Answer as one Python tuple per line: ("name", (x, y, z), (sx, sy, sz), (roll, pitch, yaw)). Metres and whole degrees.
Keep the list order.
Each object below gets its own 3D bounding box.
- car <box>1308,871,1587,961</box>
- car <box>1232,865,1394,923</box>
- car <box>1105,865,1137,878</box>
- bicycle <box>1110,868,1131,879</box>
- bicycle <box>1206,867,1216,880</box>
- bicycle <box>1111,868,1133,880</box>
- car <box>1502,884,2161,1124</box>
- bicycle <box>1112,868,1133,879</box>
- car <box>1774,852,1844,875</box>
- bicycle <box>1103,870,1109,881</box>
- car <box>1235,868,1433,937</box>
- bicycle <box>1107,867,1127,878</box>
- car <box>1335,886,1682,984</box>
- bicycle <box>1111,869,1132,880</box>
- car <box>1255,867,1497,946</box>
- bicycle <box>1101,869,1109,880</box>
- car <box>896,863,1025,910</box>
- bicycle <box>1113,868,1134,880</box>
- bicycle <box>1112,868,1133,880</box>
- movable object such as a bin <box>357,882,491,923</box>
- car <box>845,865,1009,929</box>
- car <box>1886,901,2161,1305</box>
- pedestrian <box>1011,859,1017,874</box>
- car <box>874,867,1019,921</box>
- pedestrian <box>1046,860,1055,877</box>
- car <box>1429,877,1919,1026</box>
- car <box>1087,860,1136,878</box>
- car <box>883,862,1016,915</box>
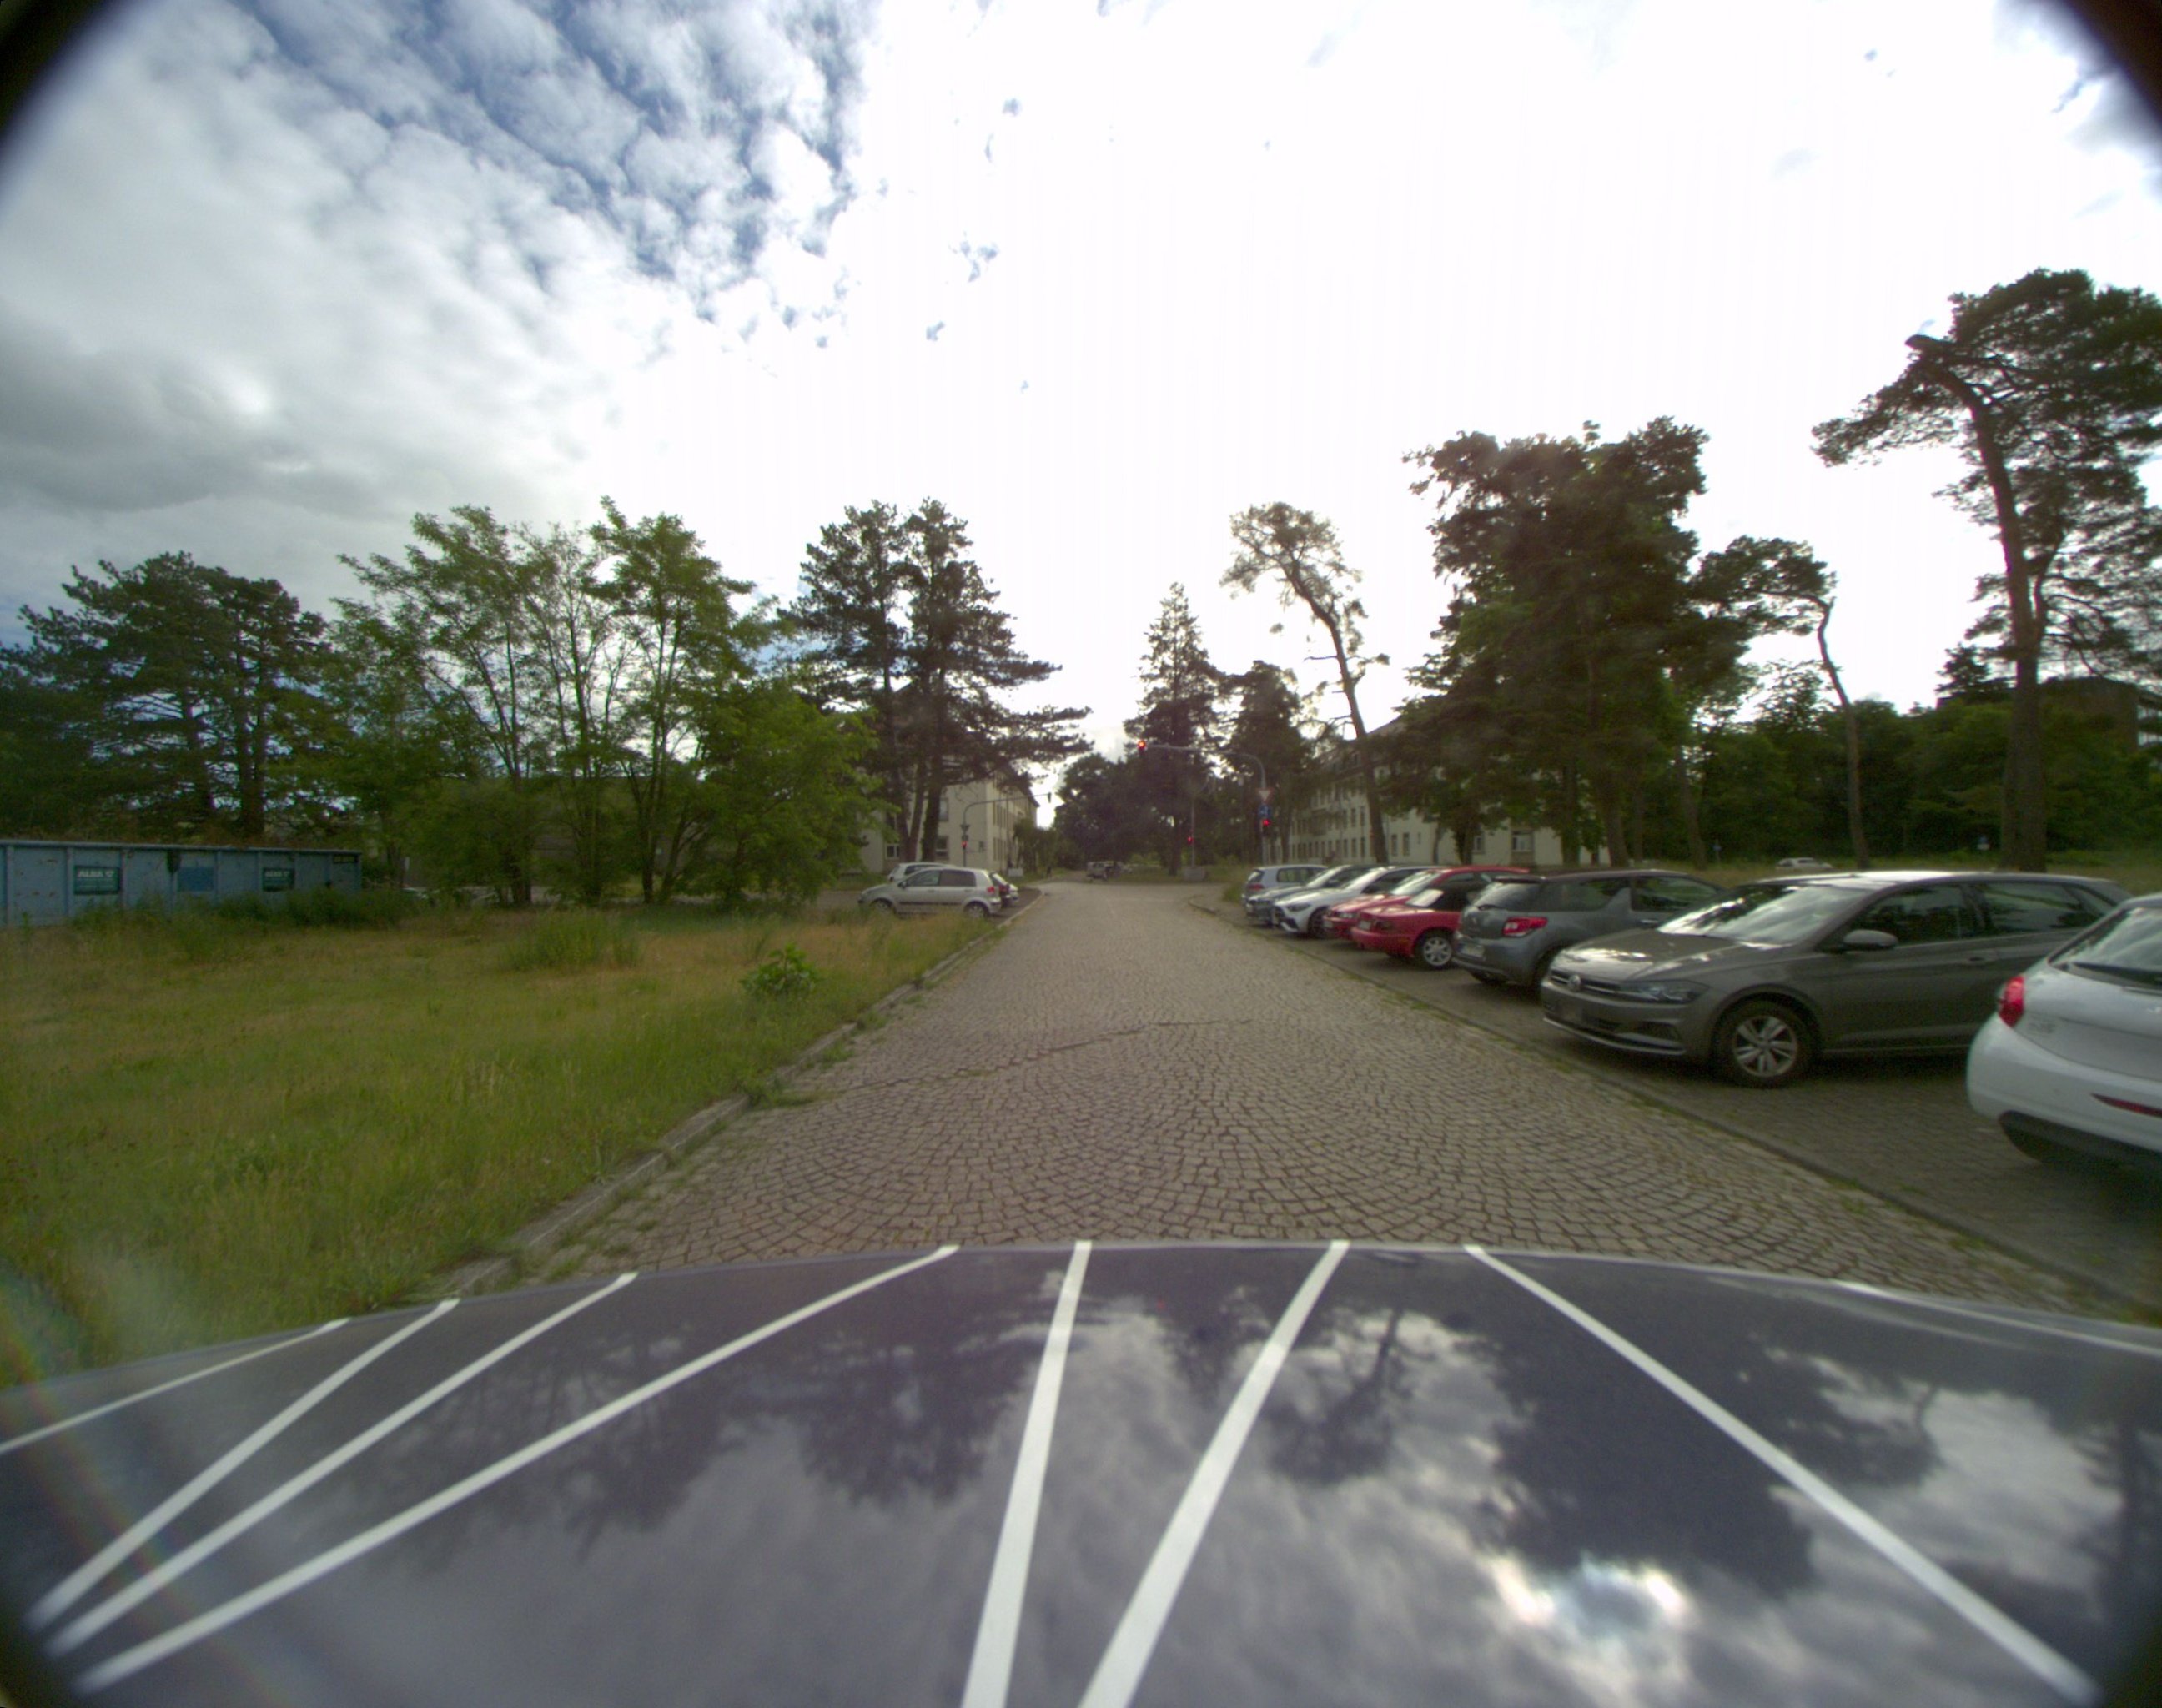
("car", (6.493, 1.076, 13.814), (4.176, 1.467, 1.865), (-1, 0, 0))
("car", (6.469, 1.103, 21.524), (3.997, 1.534, 1.905), (-1, 0, 0))
("car", (4.464, 1.931, 85.138), (3.439, 1.440, 1.913), (-1, -1, -1))
("bicycle", (3.826, 1.882, 73.146), (1.951, 1.058, 0.563), (-1, 0, -1))
("bicycle", (9.864, 1.474, 57.678), (0.294, 0.910, 1.052), (-1, 0, -21))
("bicycle", (3.833, 1.866, 70.902), (1.951, 1.104, 0.563), (-1, 0, -1))
("car", (5.866, 1.019, 5.865), (4.176, 1.483, 1.865), (-1, 0, 2))
("bicycle", (3.935, 1.886, 72.563), (1.951, 1.058, 0.563), (-1, 0, -1))
("car", (60.157, 0.765, 62.864), (3.996, 1.796, 1.723), (-1, 0, 4))
("bicycle", (2.235, 1.877, 66.946), (0.459, 0.903, 1.663), (-1, -1, 4))
("car", (6.167, 1.154, 18.861), (4.262, 1.539, 1.935), (-1, 0, -3))
("bicycle", (3.651, 1.881, 76.948), (1.951, 1.058, 0.563), (-1, 0, -1))
("car", (6.218, 1.168, 11.445), (4.176, 1.259, 1.831), (-1, -1, 2))
("bicycle", (3.771, 1.891, 70.348), (1.898, 1.058, 0.616), (-1, 0, -1))
("car", (6.111, 1.063, 16.117), (4.385, 1.498, 1.935), (-1, 0, -1))
("bicycle", (2.175, 1.893, 68.769), (0.459, 0.968, 1.664), (-1, -1, 9))
("car", (-4.466, 1.188, 28.695), (4.504, 1.556, 1.905), (2, -1, -2))
("bicycle", (4.015, 1.887, 72.076), (1.951, 1.058, 0.563), (-1, 0, -1))
("bicycle", (3.922, 1.889, 71.430), (1.951, 1.058, 0.563), (-1, 0, -1))
("movable object such as a bin", (-17.167, 1.255, 19.895), (2.689, 0.982, 0.853), (-1, 0, -2))
("car", (-4.097, 1.139, 20.710), (4.084, 1.506, 1.804), (2, -1, -1))
("car", (6.277, 0.945, 3.018), (4.077, 1.488, 1.846), (-3, -1, 2))
("pedestrian", (-7.575, 1.380, 85.936), (0.568, 1.691, 0.532), (-1, 0, 4))
("car", (-4.049, 1.202, 23.419), (4.084, 1.444, 1.885), (2, -1, -1))
("pedestrian", (-3.355, 1.597, 83.897), (0.589, 1.926, 0.792), (-1, 0, -32))
("car", (6.544, 1.044, 8.784), (4.176, 1.473, 1.846), (-1, 0, 2))
("car", (3.536, 1.733, 88.787), (5.366, 1.987, 2.290), (-1, 0, -7))
("car", (-4.442, 1.158, 26.142), (4.251, 1.587, 1.885), (2, -1, -3))
